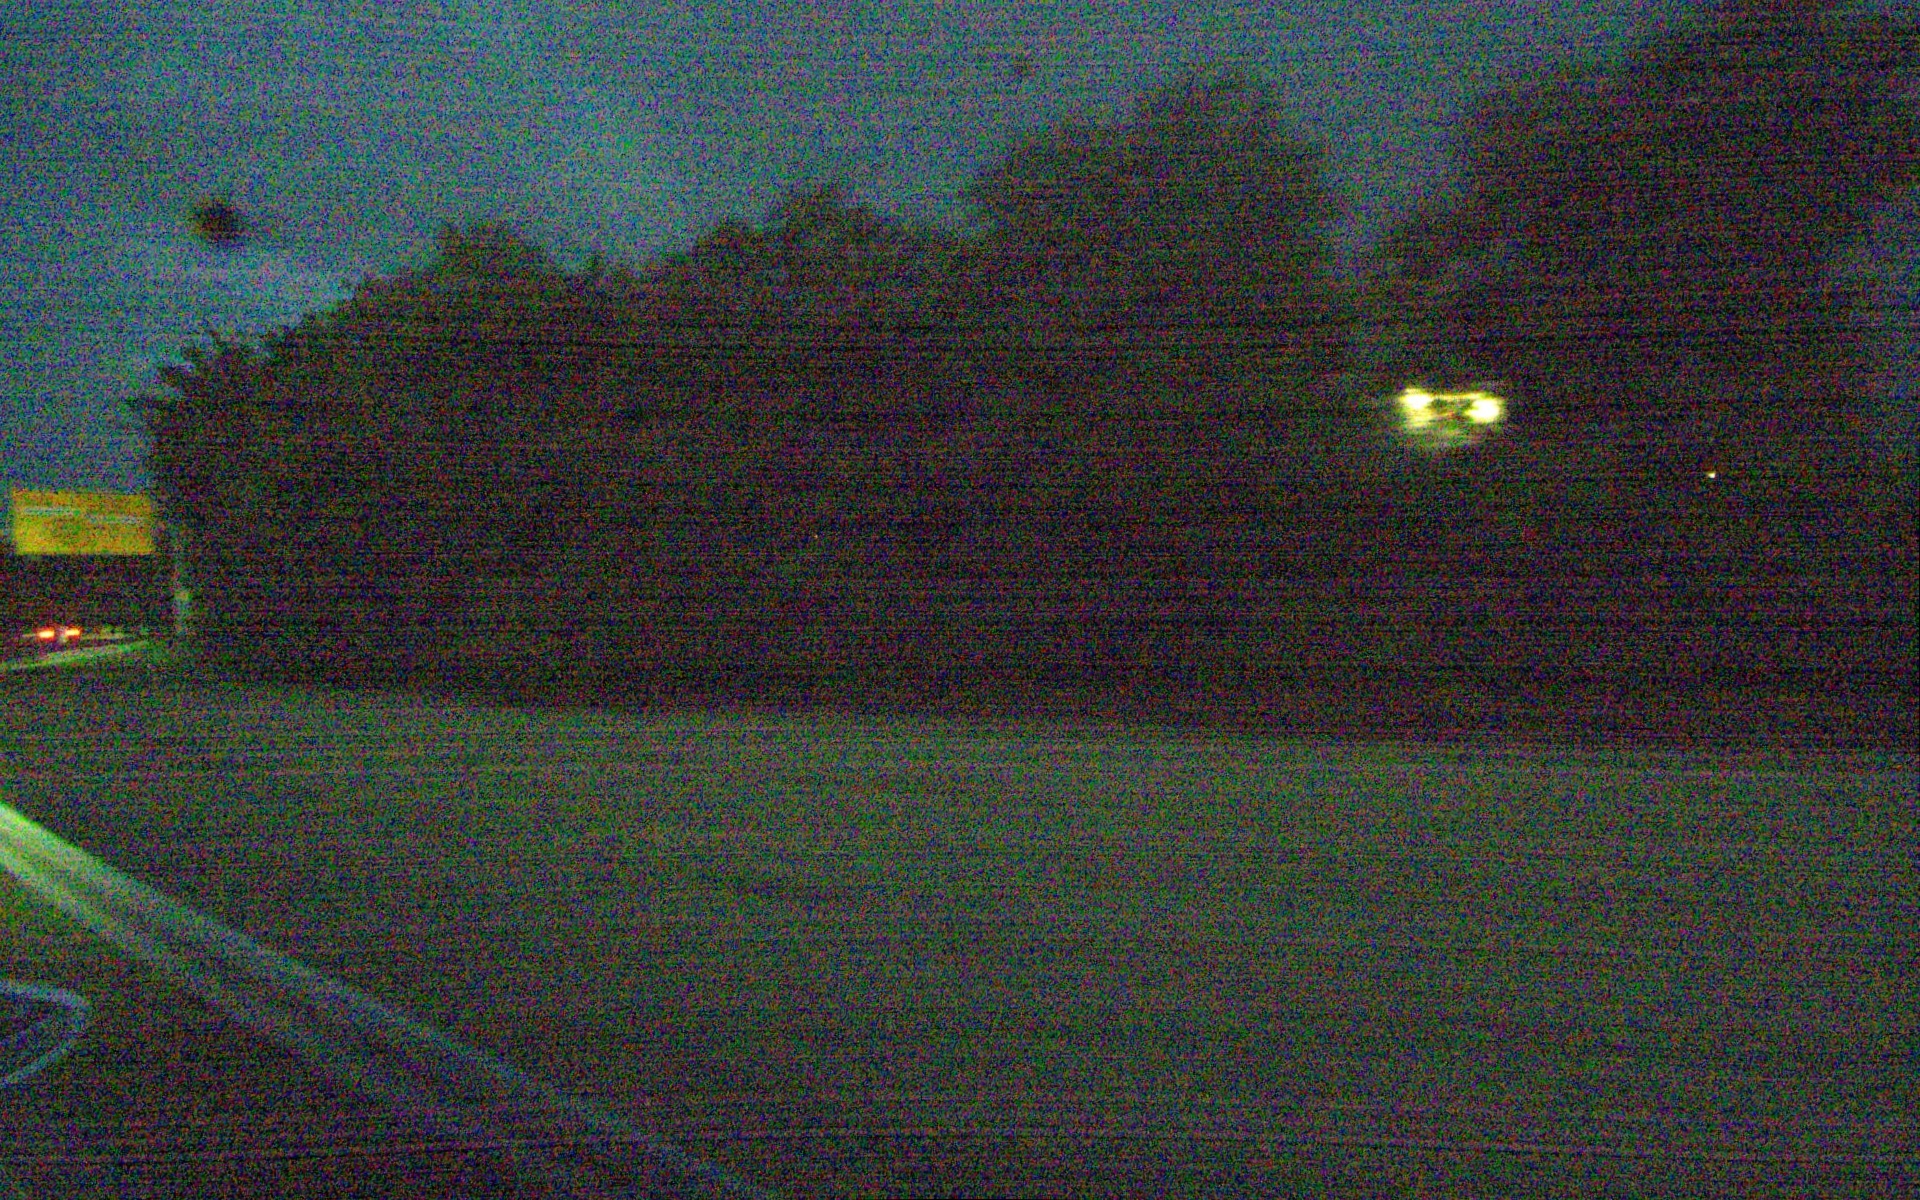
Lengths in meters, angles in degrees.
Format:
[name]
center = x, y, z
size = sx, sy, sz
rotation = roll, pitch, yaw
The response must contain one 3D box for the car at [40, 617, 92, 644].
[car]
center = -54.683, 1.842, 61.303
size = 1.975, 1.619, 3.972
rotation = 0, -1, -36
